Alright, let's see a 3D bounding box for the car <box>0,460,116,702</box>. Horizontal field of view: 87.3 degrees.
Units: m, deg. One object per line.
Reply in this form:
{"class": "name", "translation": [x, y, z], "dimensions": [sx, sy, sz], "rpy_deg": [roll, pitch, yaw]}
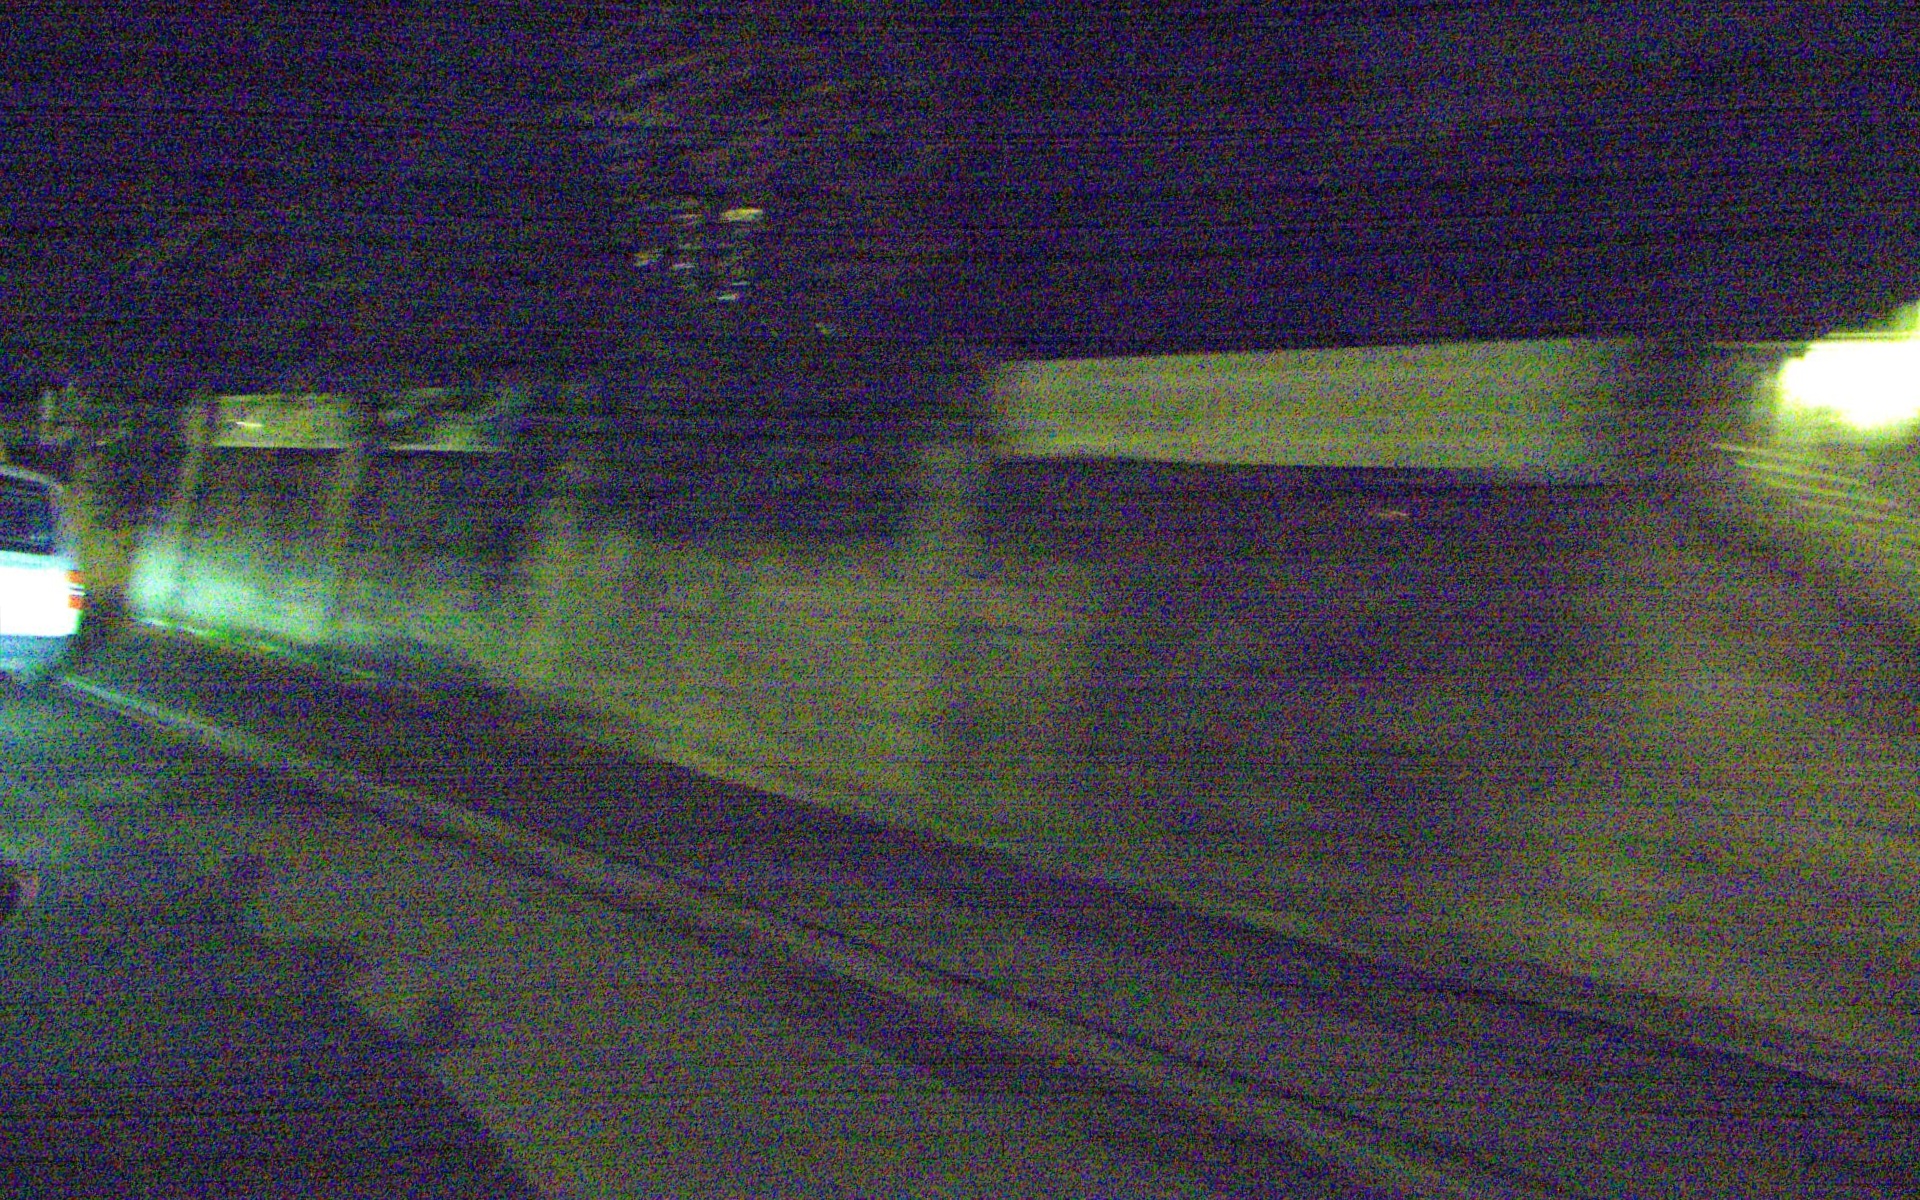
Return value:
{"class": "car", "translation": [-9.245, -0.390, 8.505], "dimensions": [4.679, 1.781, 1.722], "rpy_deg": [6, -3, 32]}
